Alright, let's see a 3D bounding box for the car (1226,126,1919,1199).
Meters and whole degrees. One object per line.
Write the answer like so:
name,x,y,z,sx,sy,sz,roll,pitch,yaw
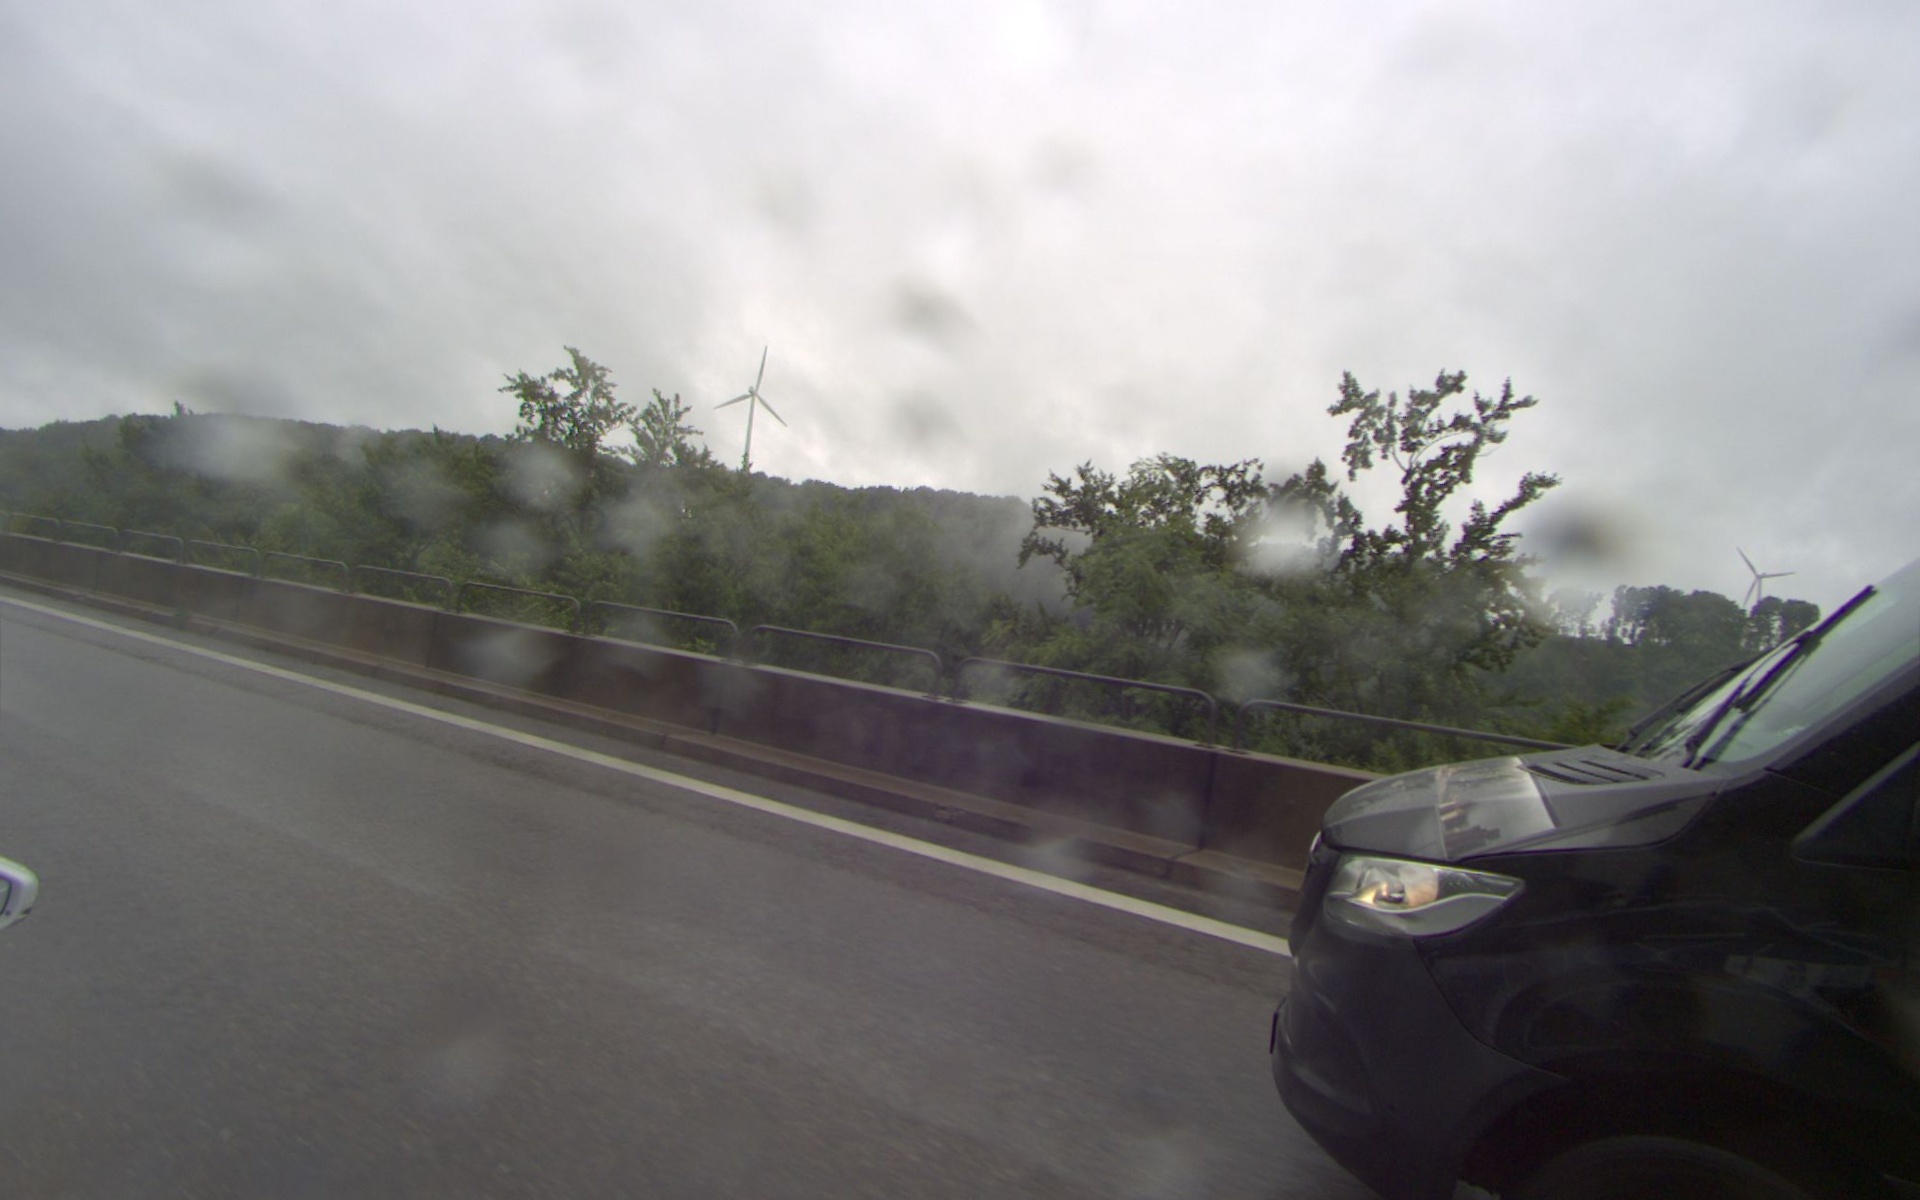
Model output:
car,4.012,0.746,1.387,6.593,2.524,1.997,7,-1,31
